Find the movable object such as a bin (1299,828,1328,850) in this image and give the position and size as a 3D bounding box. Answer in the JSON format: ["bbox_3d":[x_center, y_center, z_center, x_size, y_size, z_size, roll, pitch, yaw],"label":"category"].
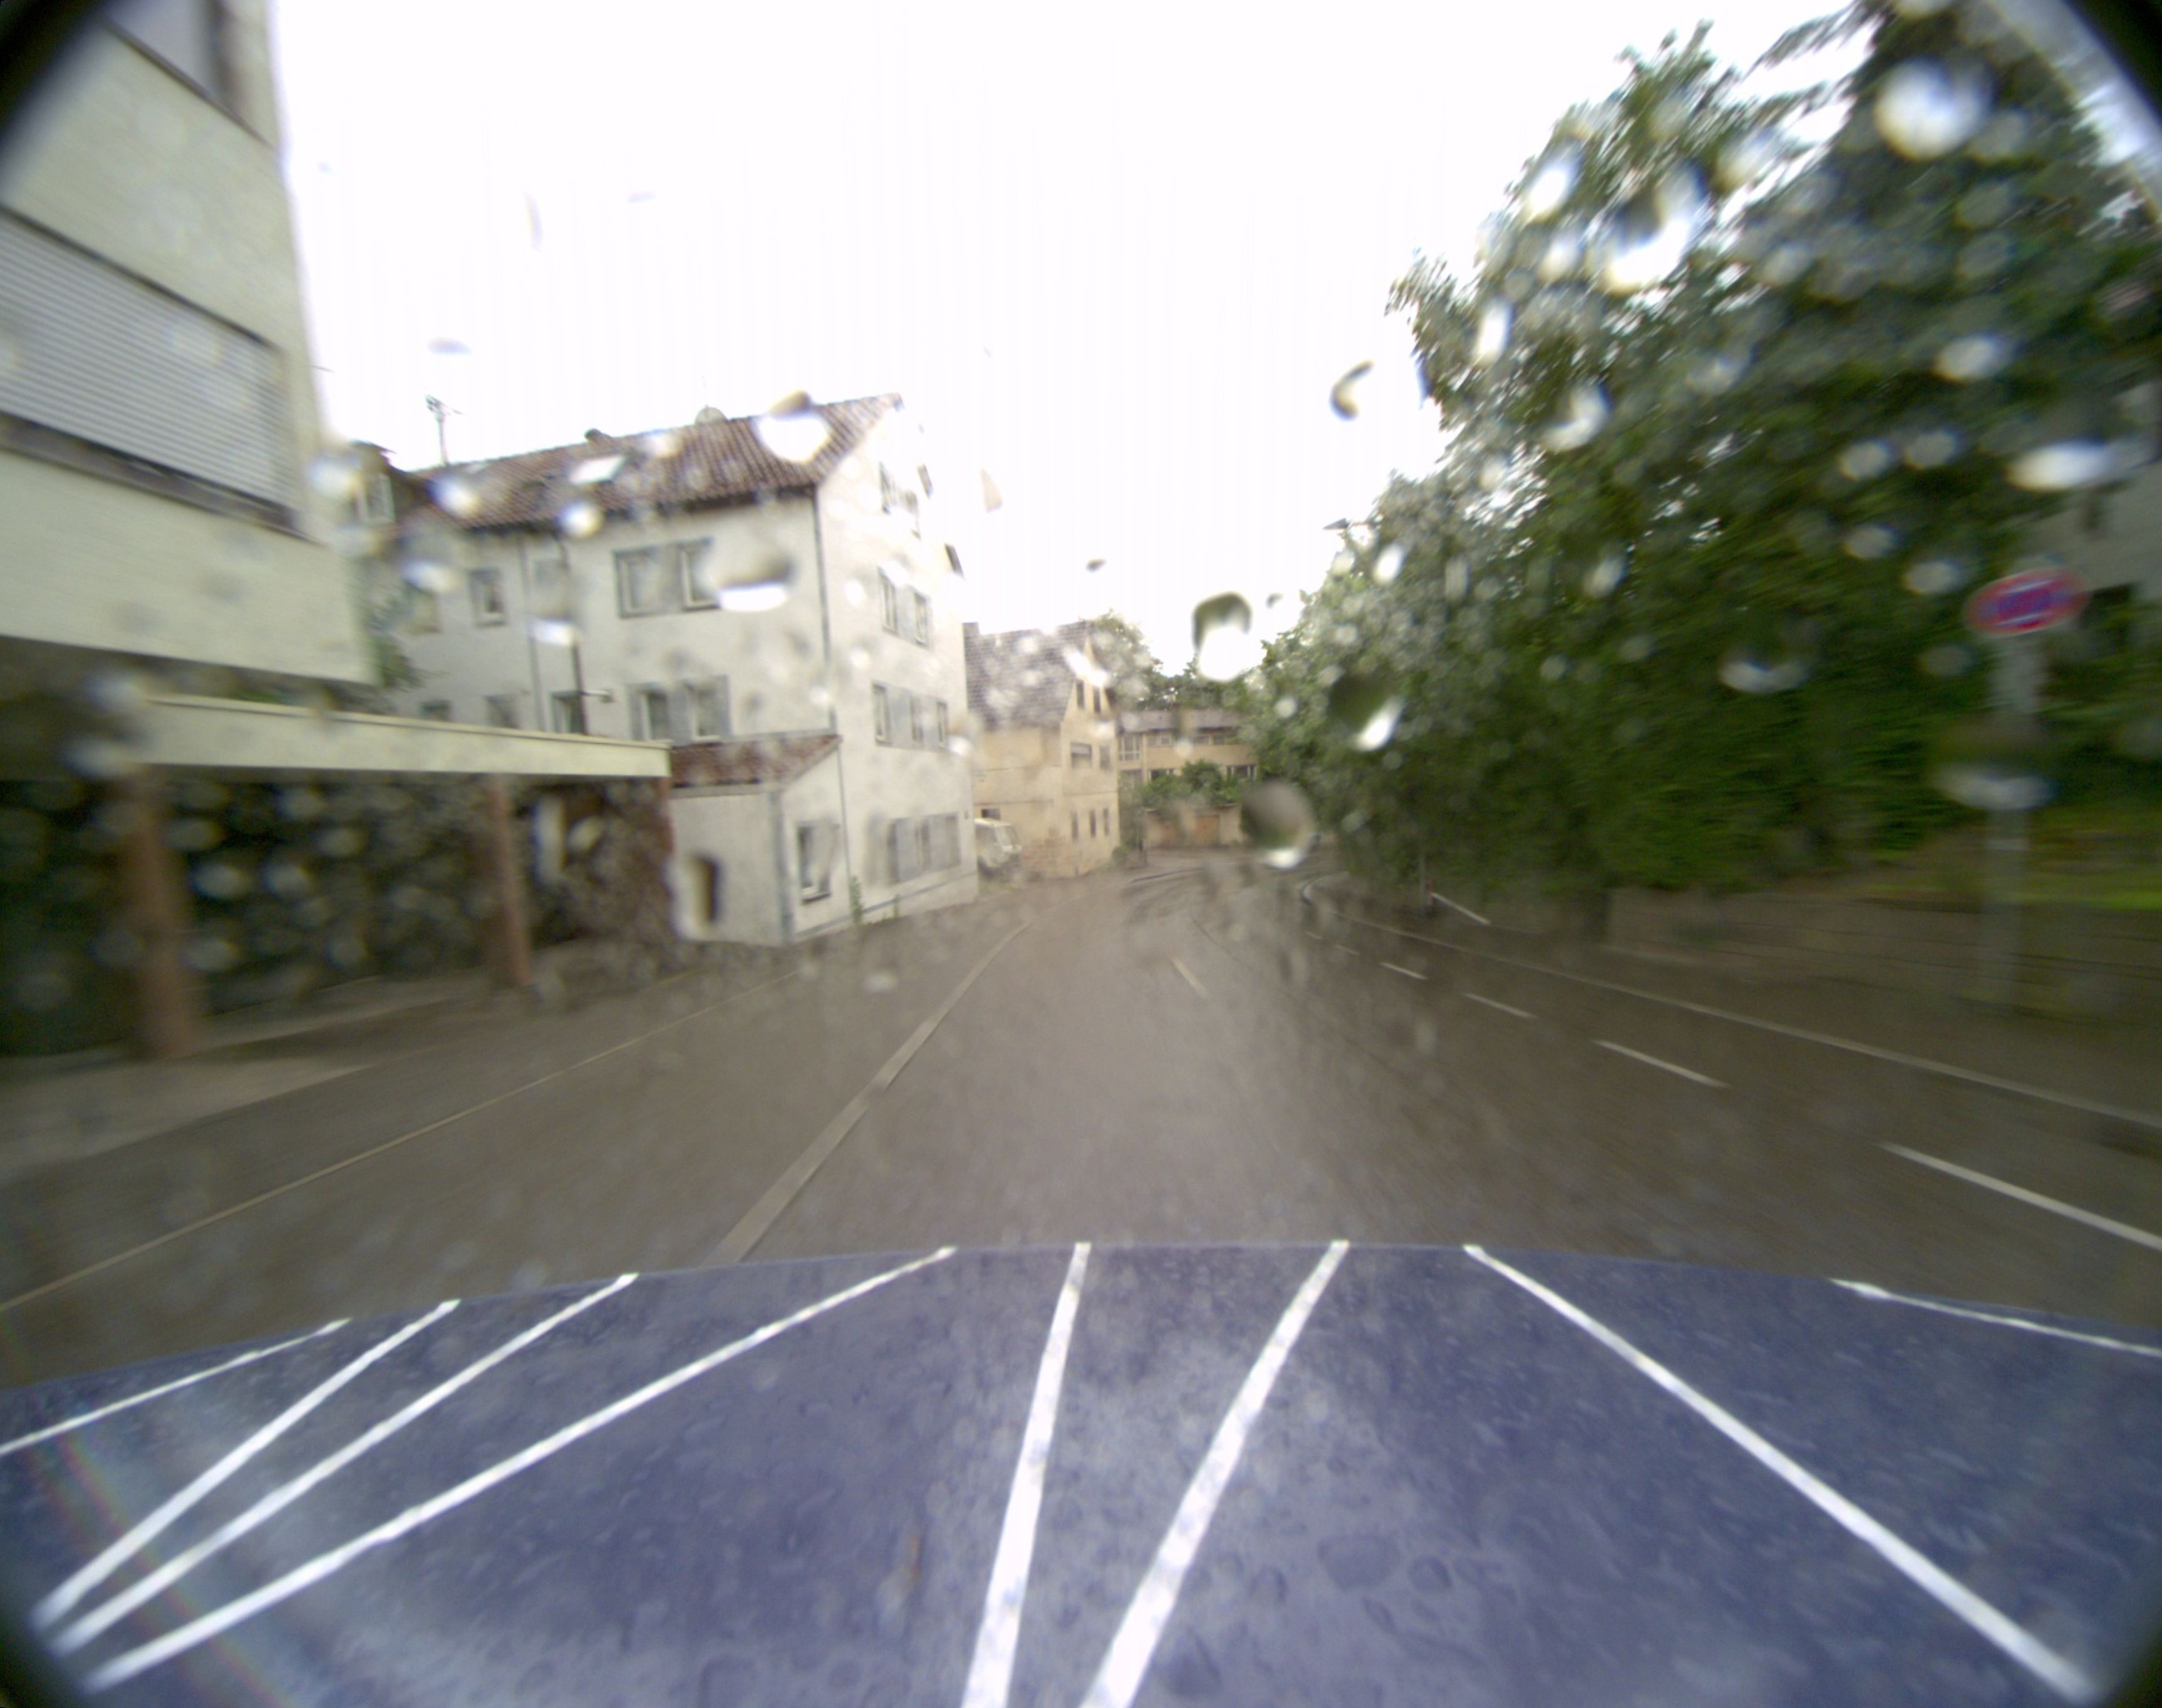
[{"bbox_3d":[16.490,-1.054,53.962,1.486,1.403,1.156,-2,8,-20],"label":"movable object such as a bin"}]

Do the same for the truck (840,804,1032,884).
[{"bbox_3d":[-5.606,-0.436,29.439,6.964,2.688,2.142,3,2,15],"label":"truck"}]
